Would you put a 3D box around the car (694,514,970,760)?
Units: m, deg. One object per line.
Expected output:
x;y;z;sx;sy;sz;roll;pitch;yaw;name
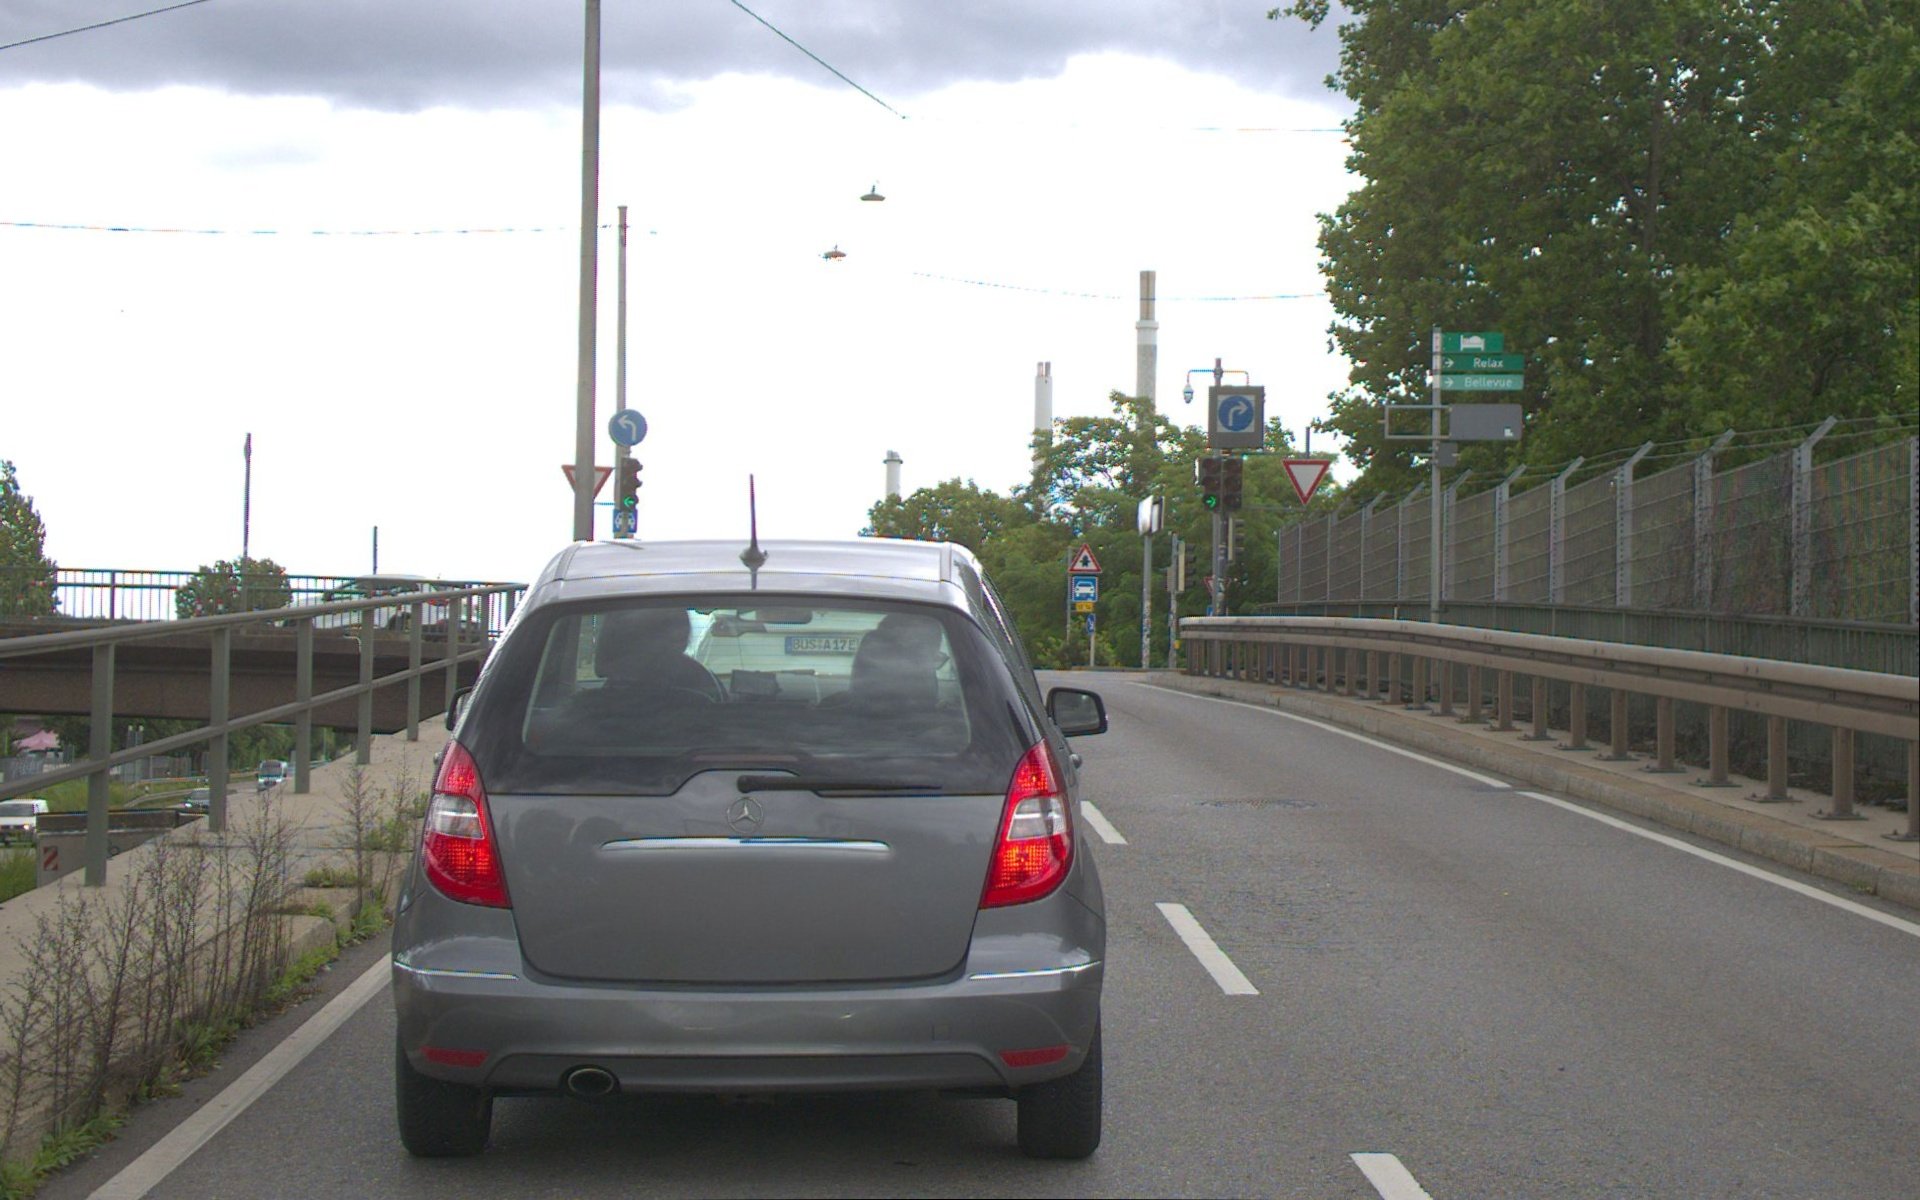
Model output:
-1.004;0.244;26.508;1.931;1.711;4.406;1;0;-3;car

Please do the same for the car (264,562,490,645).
-11.756;0.052;69.226;4.340;1.571;1.835;1;0;31;car

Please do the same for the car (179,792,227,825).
-42.339;11.632;192.356;1.915;1.733;4.553;0;-2;-4;car

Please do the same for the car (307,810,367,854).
-24.983;9.287;138.032;1.898;1.616;4.179;1;-2;-4;car

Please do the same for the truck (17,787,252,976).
-15.716;5.293;65.983;2.746;3.282;7.441;1;-2;-1;truck

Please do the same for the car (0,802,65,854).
-39.594;9.673;146.307;1.993;2.060;5.177;1;-2;-4;car

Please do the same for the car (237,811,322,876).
-22.732;8.111;115.020;1.898;1.996;4.958;1;-2;-1;car

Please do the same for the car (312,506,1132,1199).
-0.568;0.561;9.886;1.857;1.583;4.000;1;1;-1;car

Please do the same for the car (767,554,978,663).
-1.492;0.119;56.832;1.931;1.711;4.001;1;1;-27;car

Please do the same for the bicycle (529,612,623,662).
-8.855;0.854;79.202;2.032;1.121;0.929;1;0;-13;bicycle
